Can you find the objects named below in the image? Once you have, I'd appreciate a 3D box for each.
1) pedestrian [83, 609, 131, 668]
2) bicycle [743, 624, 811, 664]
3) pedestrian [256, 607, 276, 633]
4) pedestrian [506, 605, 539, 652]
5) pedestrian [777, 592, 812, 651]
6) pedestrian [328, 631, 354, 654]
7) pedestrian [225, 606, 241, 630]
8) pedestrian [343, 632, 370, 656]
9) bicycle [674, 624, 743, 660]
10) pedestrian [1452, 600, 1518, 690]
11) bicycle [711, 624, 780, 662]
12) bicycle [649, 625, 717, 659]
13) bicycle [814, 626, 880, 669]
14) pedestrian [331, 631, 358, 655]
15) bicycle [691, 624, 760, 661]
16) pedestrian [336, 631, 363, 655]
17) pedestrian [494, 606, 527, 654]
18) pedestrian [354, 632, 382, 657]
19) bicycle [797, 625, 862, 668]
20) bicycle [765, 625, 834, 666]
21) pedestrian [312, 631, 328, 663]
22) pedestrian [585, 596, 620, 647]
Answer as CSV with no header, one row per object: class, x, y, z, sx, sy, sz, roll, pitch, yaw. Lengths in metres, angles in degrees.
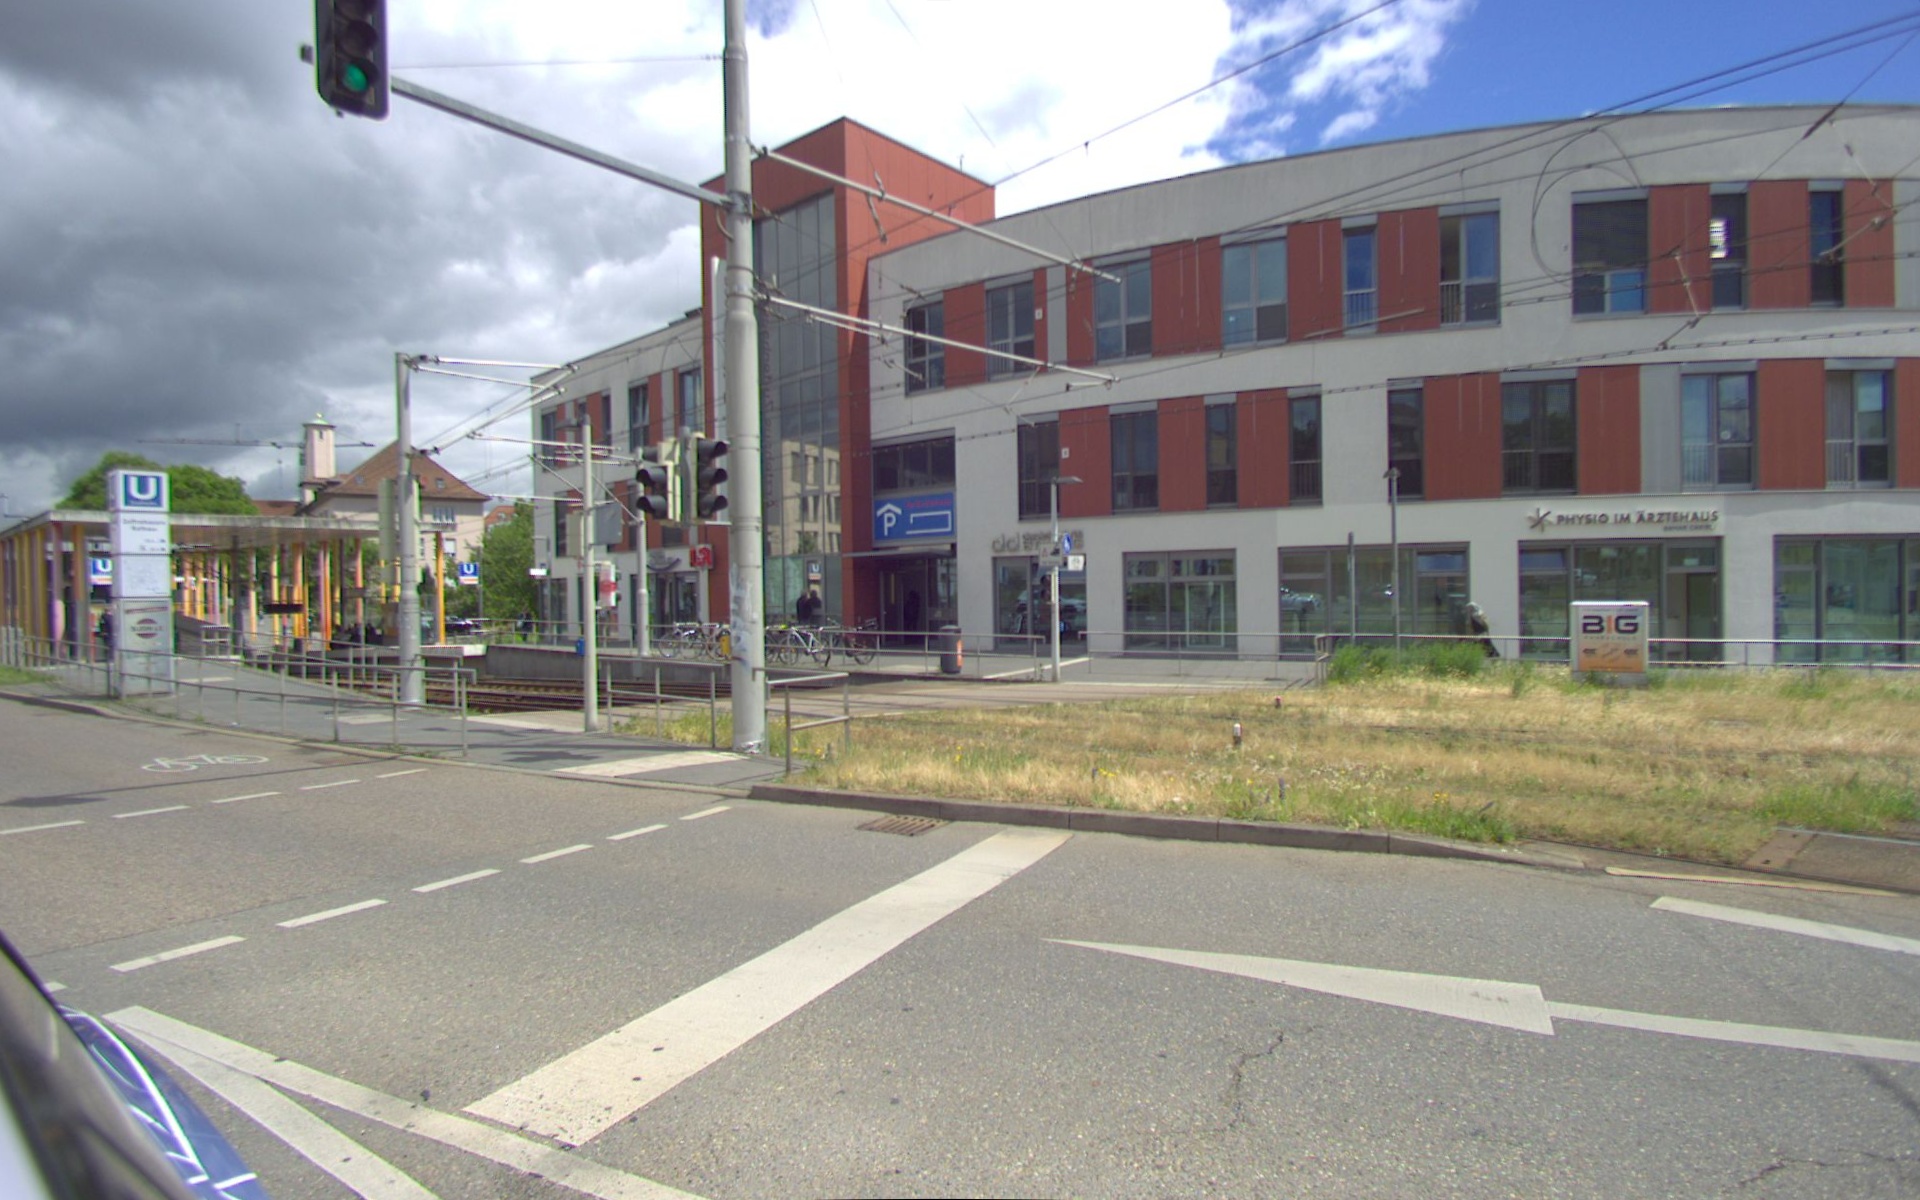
pedestrian,-28.268,1.258,33.542,0.864,1.929,1.090,0,-1,42
bicycle,-4.739,1.126,26.339,0.454,0.970,1.837,-1,0,43
pedestrian,-55.701,1.589,81.244,1.112,2.029,1.180,0,-2,-44
pedestrian,-18.751,1.216,43.377,1.105,1.983,0.853,0,-1,39
pedestrian,-5.312,0.664,32.485,0.856,1.859,0.876,0,1,13
pedestrian,-31.304,2.138,51.154,0.886,1.143,0.931,-2,-1,42
pedestrian,-64.091,1.574,89.229,1.110,2.029,1.461,0,-1,-36
pedestrian,-29.397,2.131,49.272,0.886,1.143,0.931,-2,-1,42
bicycle,-6.982,1.153,28.146,1.835,0.939,0.455,0,0,-41
pedestrian,11.905,1.001,22.968,1.104,1.983,0.862,0,-1,10
bicycle,-5.697,1.137,26.988,1.836,0.946,0.455,0,0,-45
bicycle,-7.875,1.190,28.834,1.834,0.888,0.455,0,0,-41
bicycle,-2.737,1.138,24.674,0.428,0.959,1.716,-1,0,43
pedestrian,-30.804,2.138,50.625,0.886,1.143,0.931,-2,-1,42
bicycle,-6.370,1.150,27.587,1.835,0.929,0.455,0,0,-42
pedestrian,-30.114,2.134,49.907,0.886,1.143,0.931,-2,-1,42
pedestrian,-19.050,1.249,42.920,1.105,1.983,0.853,0,-1,39
pedestrian,-28.548,2.131,48.798,0.886,1.143,0.931,-2,-1,42
bicycle,-3.225,1.137,25.077,0.428,0.965,1.716,-1,0,43
bicycle,-4.056,1.137,25.704,0.454,0.942,1.837,-1,0,43
pedestrian,-40.415,2.966,63.907,0.773,2.029,0.610,-2,-1,34
pedestrian,-14.165,0.846,40.098,1.106,1.983,0.852,0,-1,43
